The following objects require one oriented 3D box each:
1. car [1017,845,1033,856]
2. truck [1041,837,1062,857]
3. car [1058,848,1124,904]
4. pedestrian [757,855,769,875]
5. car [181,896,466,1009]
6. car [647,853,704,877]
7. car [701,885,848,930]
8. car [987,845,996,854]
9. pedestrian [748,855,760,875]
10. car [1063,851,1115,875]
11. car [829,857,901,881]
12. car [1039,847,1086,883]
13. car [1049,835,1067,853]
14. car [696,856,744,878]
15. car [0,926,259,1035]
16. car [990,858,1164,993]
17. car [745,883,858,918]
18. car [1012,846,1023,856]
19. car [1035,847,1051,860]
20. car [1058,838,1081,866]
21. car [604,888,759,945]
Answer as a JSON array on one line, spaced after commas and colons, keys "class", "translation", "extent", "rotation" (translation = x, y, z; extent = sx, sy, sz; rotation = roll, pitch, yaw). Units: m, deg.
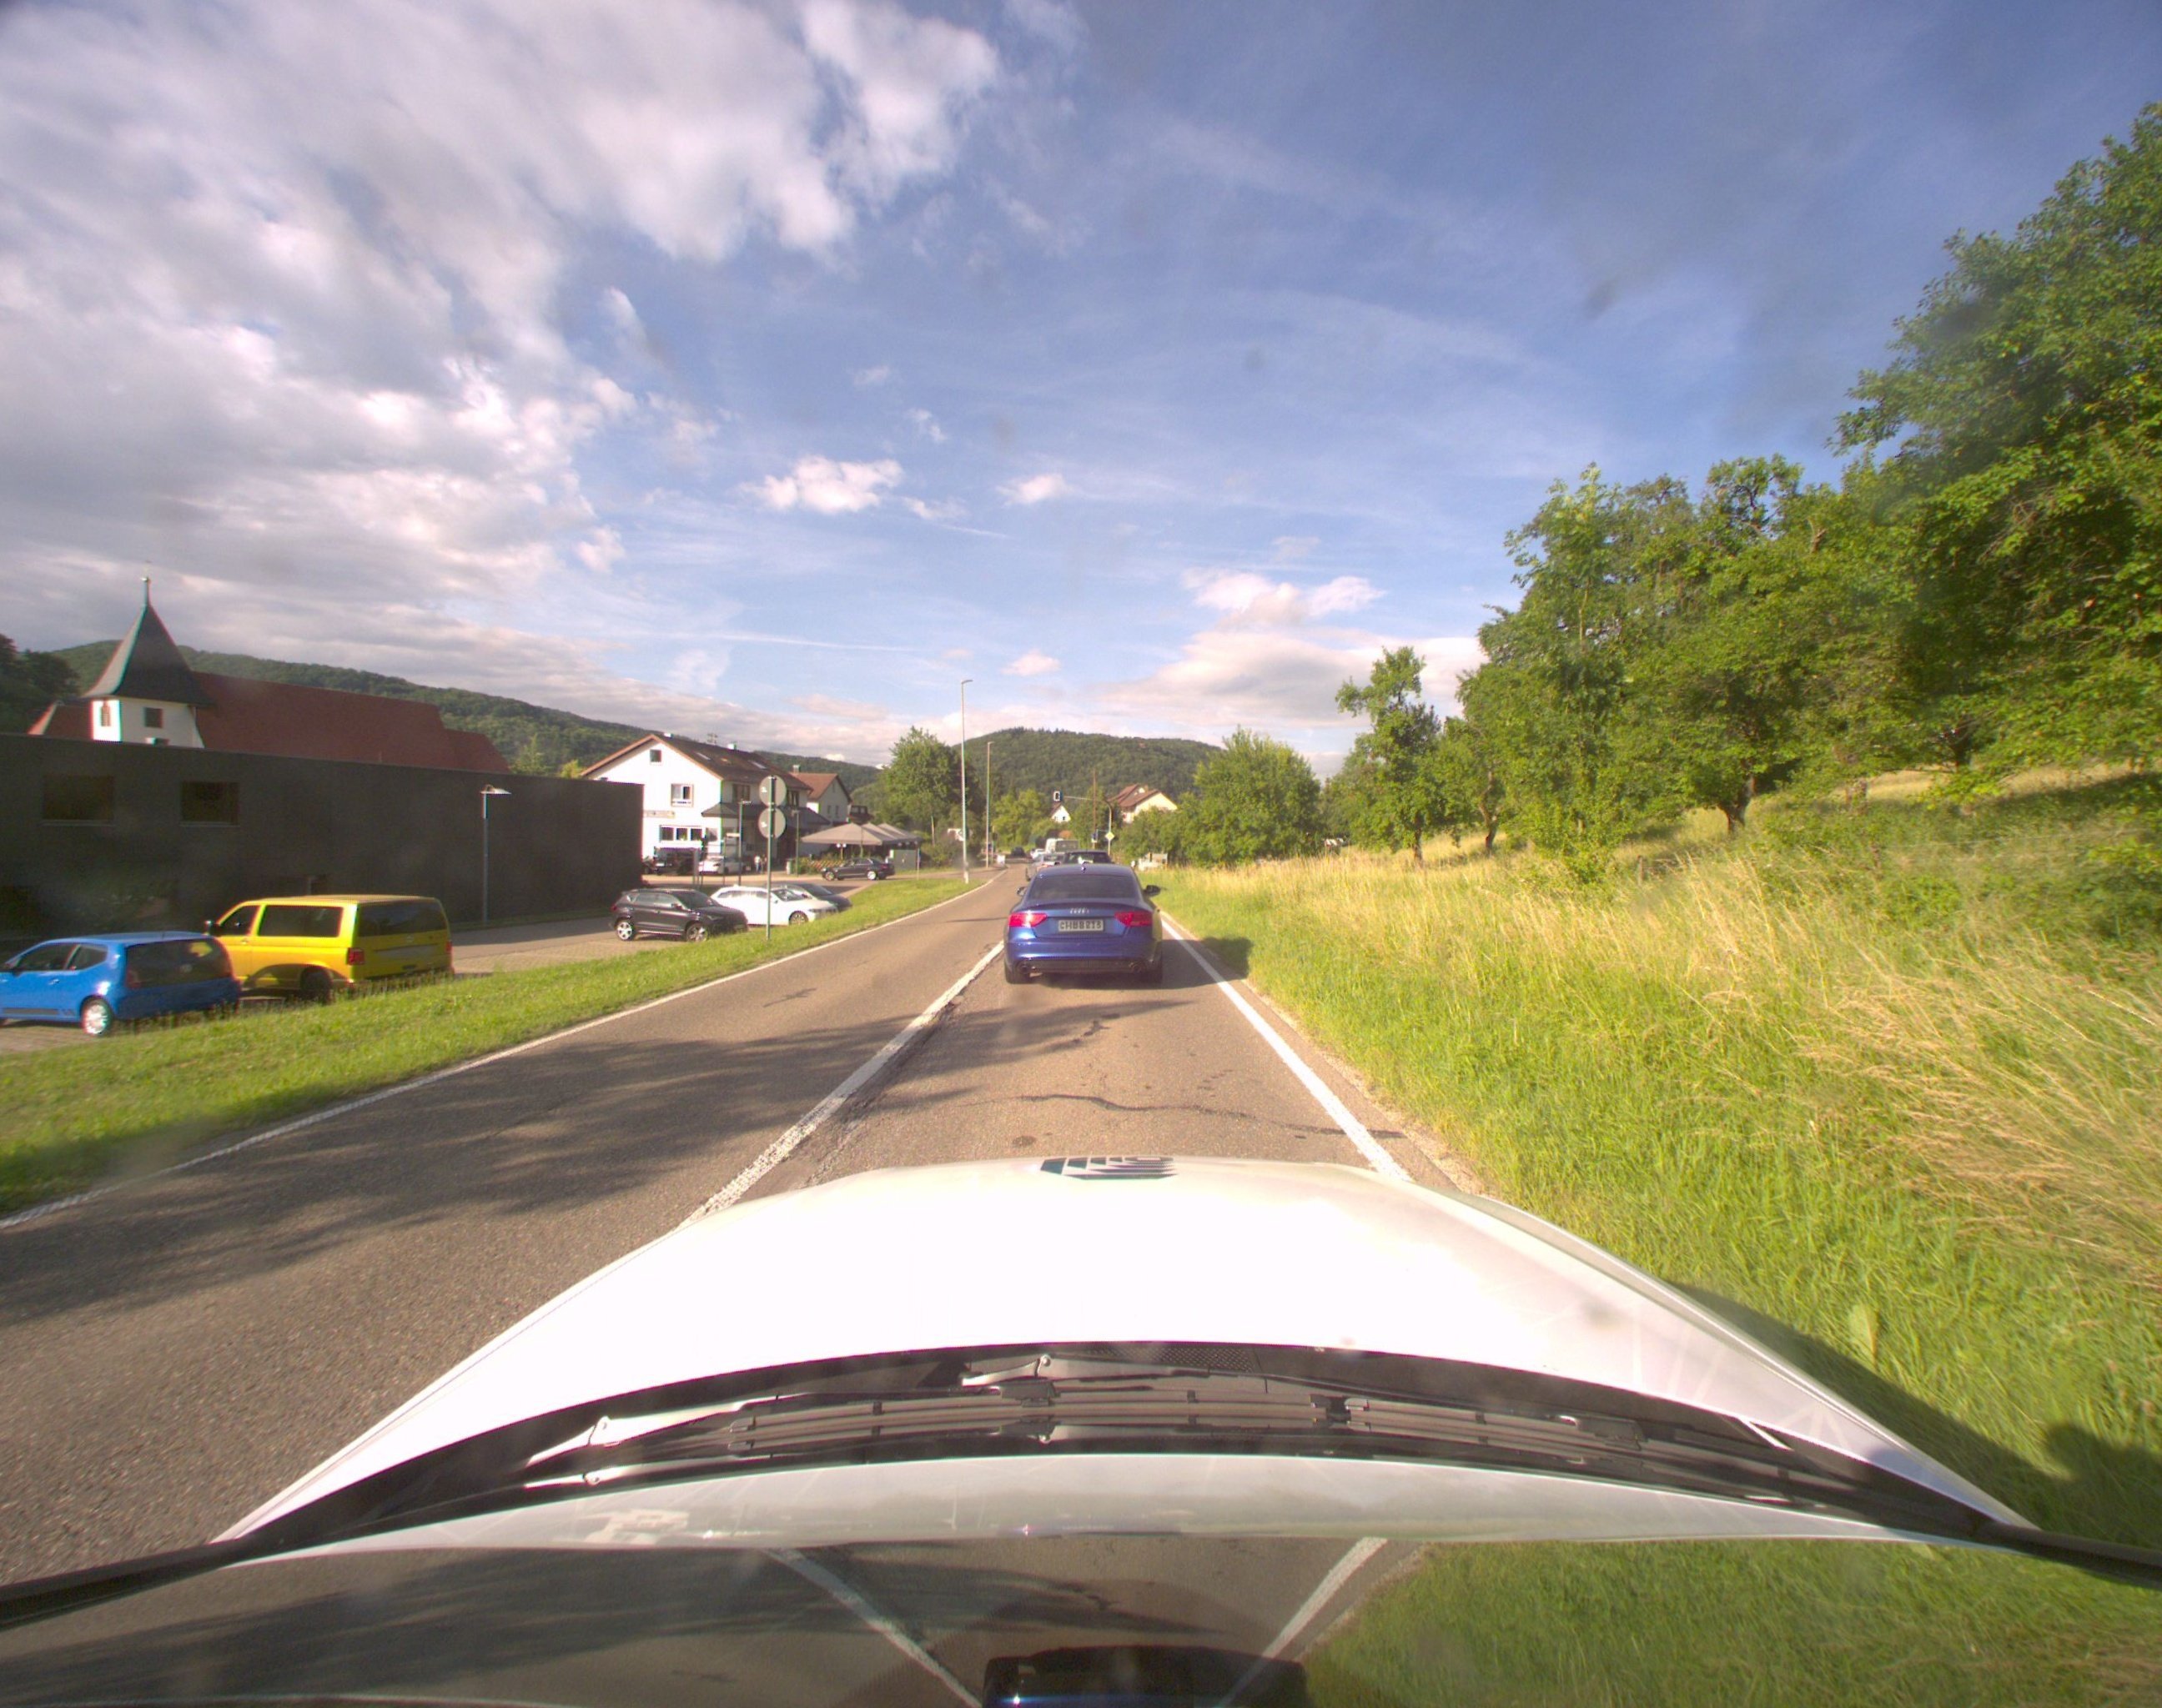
[{"class": "car", "translation": [-7.440, -0.454, 108.567], "extent": [1.698, 1.490, 3.513], "rotation": [0, -1, -11]}, {"class": "truck", "translation": [-3.081, -0.653, 83.692], "extent": [1.696, 1.953, 5.907], "rotation": [0, -1, -7]}, {"class": "car", "translation": [0.410, 0.673, 26.110], "extent": [1.737, 1.639, 4.007], "rotation": [0, -1, 6]}, {"class": "pedestrian", "translation": [-23.145, 0.799, 59.264], "extent": [0.606, 1.503, 0.590], "rotation": [0, -1, 1]}, {"class": "car", "translation": [-14.750, 1.813, 15.917], "extent": [4.574, 1.868, 2.009], "rotation": [0, -1, 17]}, {"class": "car", "translation": [-28.507, 0.750, 57.379], "extent": [1.880, 1.662, 4.001], "rotation": [0, -1, 1]}, {"class": "car", "translation": [-11.257, 1.943, 29.974], "extent": [4.780, 1.493, 1.888], "rotation": [0, -1, 13]}, {"class": "car", "translation": [-17.207, -0.877, 155.974], "extent": [1.625, 1.576, 3.669], "rotation": [0, -1, -8]}, {"class": "pedestrian", "translation": [-23.796, 0.802, 59.307], "extent": [0.606, 1.503, 0.590], "rotation": [0, -1, 1]}, {"class": "car", "translation": [0.532, 0.553, 51.482], "extent": [1.609, 1.478, 3.754], "rotation": [-1, -1, 31]}, {"class": "car", "translation": [-13.538, 0.909, 51.063], "extent": [3.952, 1.442, 1.930], "rotation": [0, -1, 22]}, {"class": "car", "translation": [-0.835, 0.530, 39.801], "extent": [1.796, 1.639, 4.469], "rotation": [0, -1, 5]}, {"class": "car", "translation": [-2.244, -0.978, 78.446], "extent": [1.742, 1.639, 3.996], "rotation": [0, -1, -2]}, {"class": "car", "translation": [-25.646, 0.909, 57.967], "extent": [1.550, 1.450, 4.001], "rotation": [0, -1, 2]}, {"class": "car", "translation": [-15.861, 2.001, 13.373], "extent": [3.471, 1.472, 1.638], "rotation": [0, -1, 11]}, {"class": "car", "translation": [0.151, 0.769, 10.509], "extent": [1.786, 1.388, 4.007], "rotation": [-1, -1, 6]}, {"class": "car", "translation": [-11.300, 1.874, 33.041], "extent": [3.963, 1.310, 1.765], "rotation": [0, -1, 9]}, {"class": "car", "translation": [-9.916, -0.510, 126.529], "extent": [1.695, 1.490, 3.520], "rotation": [0, -1, -5]}, {"class": "car", "translation": [-4.685, -0.028, 99.648], "extent": [1.696, 1.490, 3.517], "rotation": [0, -1, -7]}, {"class": "car", "translation": [-0.931, -0.131, 65.241], "extent": [1.742, 2.195, 3.996], "rotation": [0, -1, -2]}, {"class": "car", "translation": [-12.553, 1.924, 25.696], "extent": [3.996, 1.637, 2.007], "rotation": [0, -1, 13]}]
